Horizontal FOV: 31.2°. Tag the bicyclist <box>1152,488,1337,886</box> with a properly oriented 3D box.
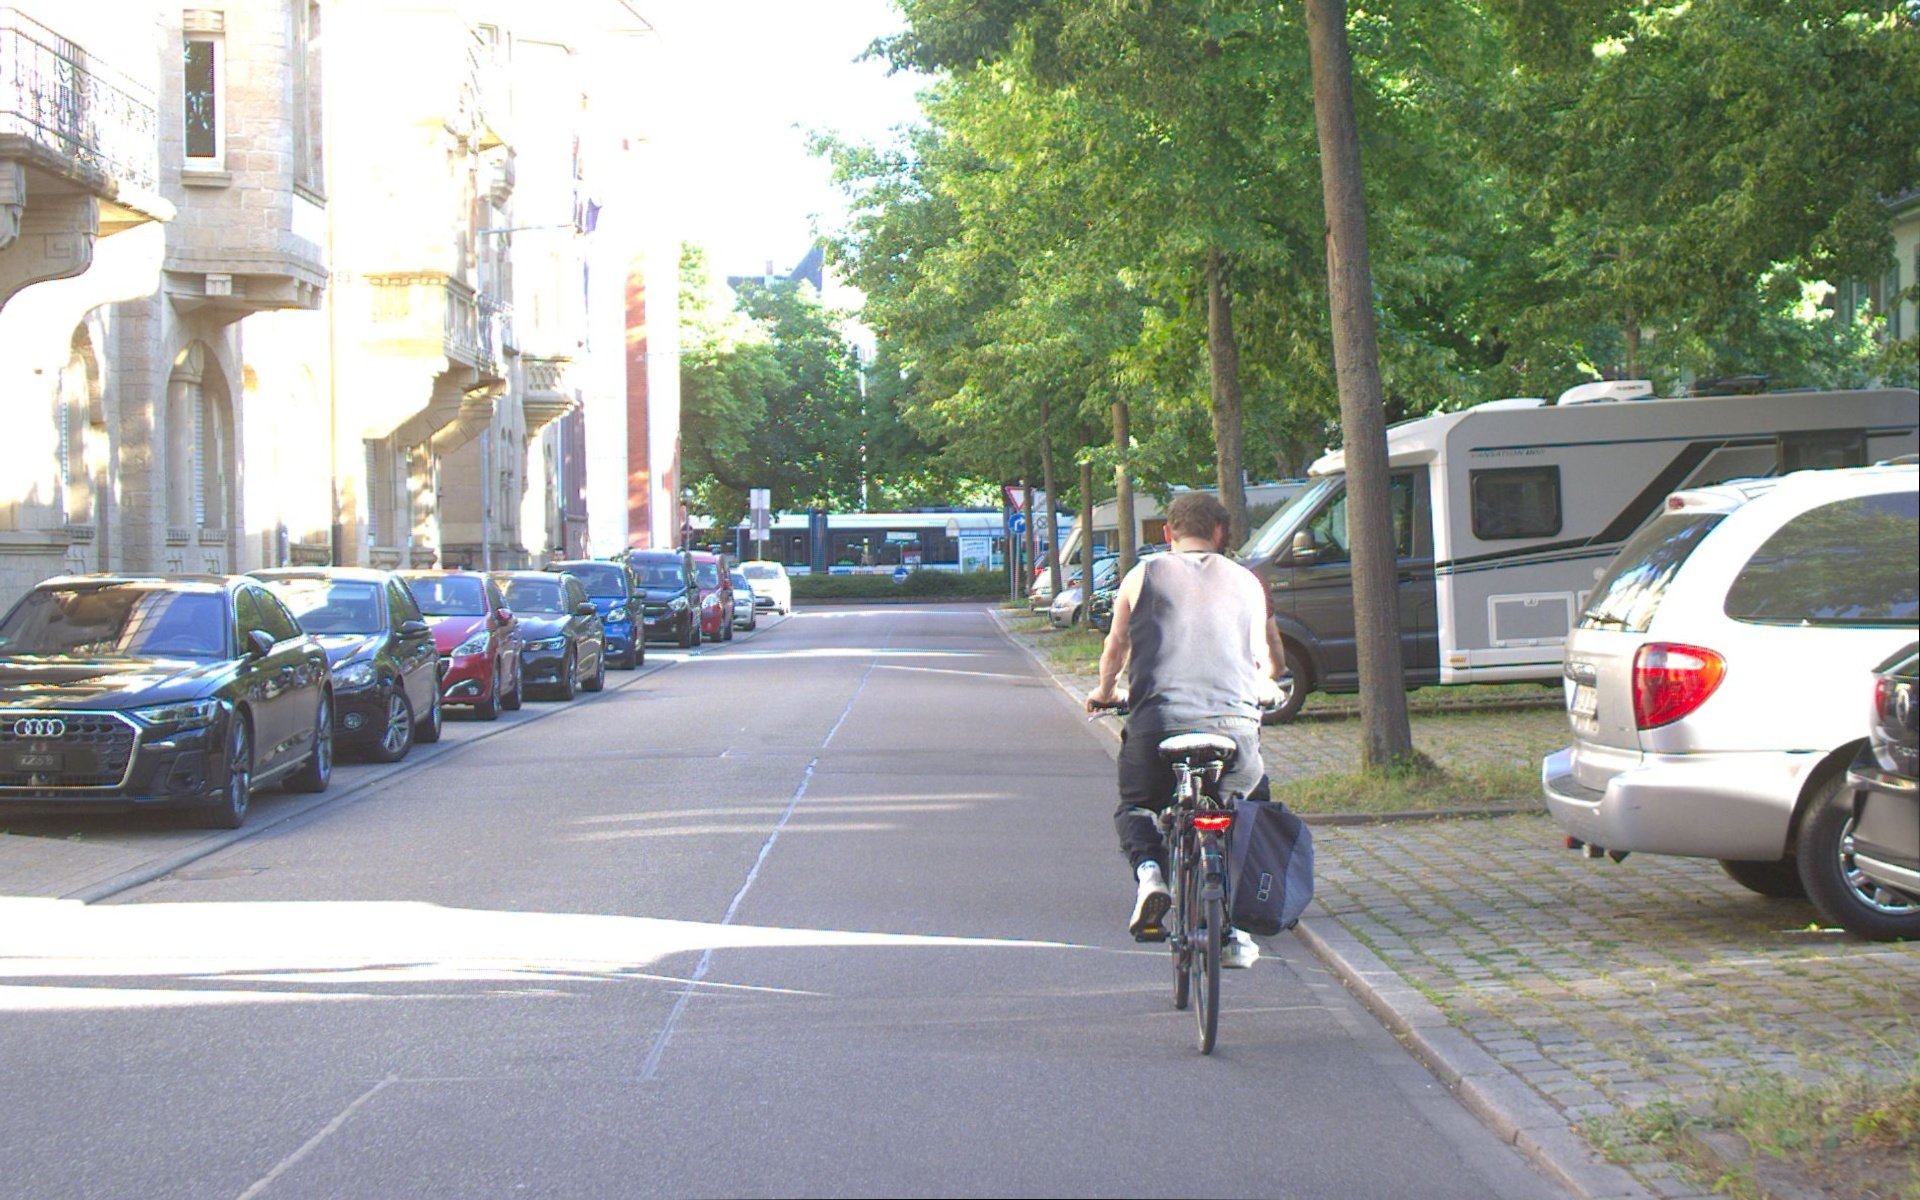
[{"bbox_3d":[1.190,0.351,14.561,0.689,1.621,0.998,1,1,1],"label":"bicyclist"}]

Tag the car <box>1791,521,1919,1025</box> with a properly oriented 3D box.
[{"bbox_3d":[4.855,0.395,10.680,4.068,1.471,1.694,-4,2,1],"label":"car"}]

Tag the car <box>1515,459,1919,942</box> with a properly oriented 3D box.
[{"bbox_3d":[4.637,0.277,13.358,4.619,1.704,1.833,-2,1,1],"label":"car"}]

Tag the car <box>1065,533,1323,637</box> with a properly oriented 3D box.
[{"bbox_3d":[3.813,-0.234,56.575,4.139,1.594,1.702,-1,-1,2],"label":"car"}]

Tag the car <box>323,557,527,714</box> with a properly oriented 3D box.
[{"bbox_3d":[-5.338,0.314,34.683,1.628,1.448,3.838,1,1,-3],"label":"car"}]

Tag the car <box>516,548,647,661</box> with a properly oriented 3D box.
[{"bbox_3d":[-5.445,0.048,49.674,1.595,1.484,2.737,3,1,-2],"label":"car"}]

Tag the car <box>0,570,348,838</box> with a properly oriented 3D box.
[{"bbox_3d":[-5.142,0.557,21.424,1.811,1.422,4.898,2,0,-1],"label":"car"}]

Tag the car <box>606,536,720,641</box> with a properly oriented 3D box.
[{"bbox_3d":[-5.386,-0.243,62.730,1.640,1.777,4.354,2,1,0],"label":"car"}]

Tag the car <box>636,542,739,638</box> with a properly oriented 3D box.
[{"bbox_3d":[-5.489,-0.233,69.739,1.689,1.819,4.273,2,1,0],"label":"car"}]

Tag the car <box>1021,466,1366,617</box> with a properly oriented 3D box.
[{"bbox_3d":[5.040,-1.268,74.933,7.146,2.968,2.465,-2,1,-3],"label":"car"}]

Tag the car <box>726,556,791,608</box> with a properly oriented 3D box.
[{"bbox_3d":[-5.721,-0.538,97.916,1.583,1.371,4.131,2,1,0],"label":"car"}]

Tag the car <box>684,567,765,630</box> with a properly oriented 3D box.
[{"bbox_3d":[-5.511,-0.051,80.783,1.583,1.339,4.131,2,1,0],"label":"car"}]

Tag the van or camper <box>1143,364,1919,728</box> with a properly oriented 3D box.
[{"bbox_3d":[5.284,-0.494,29.979,7.147,2.638,2.464,-4,1,2],"label":"van or camper"}]

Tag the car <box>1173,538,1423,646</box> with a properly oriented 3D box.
[{"bbox_3d":[5.268,-0.118,53.936,3.773,1.594,1.690,-1,-1,2],"label":"car"}]

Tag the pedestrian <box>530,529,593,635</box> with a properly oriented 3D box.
[{"bbox_3d":[-6.588,-0.294,56.868,0.938,1.736,0.735,1,0,0],"label":"pedestrian"}]

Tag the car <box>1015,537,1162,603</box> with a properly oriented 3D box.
[{"bbox_3d":[3.608,-0.845,97.203,3.986,1.797,1.834,1,0,-2],"label":"car"}]

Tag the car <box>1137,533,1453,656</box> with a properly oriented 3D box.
[{"bbox_3d":[4.598,-0.059,47.612,4.223,1.594,1.690,-1,-1,2],"label":"car"}]

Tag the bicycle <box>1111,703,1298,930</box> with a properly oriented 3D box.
[{"bbox_3d":[1.006,0.883,14.505,0.633,0.796,1.832,-1,1,0],"label":"bicycle"}]

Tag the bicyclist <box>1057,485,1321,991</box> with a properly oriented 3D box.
[{"bbox_3d":[0.719,0.426,11.036,0.730,1.542,0.884,1,0,-1],"label":"bicyclist"}]

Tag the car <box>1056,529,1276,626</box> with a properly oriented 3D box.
[{"bbox_3d":[4.028,-0.446,67.476,4.082,1.644,1.641,-4,0,-2],"label":"car"}]

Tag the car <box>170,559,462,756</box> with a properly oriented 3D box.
[{"bbox_3d":[-5.073,0.424,27.538,1.696,1.448,4.028,0,0,-2],"label":"car"}]

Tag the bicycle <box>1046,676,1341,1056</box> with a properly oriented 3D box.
[{"bbox_3d":[0.708,0.799,11.015,0.737,1.050,1.956,1,0,-1],"label":"bicycle"}]

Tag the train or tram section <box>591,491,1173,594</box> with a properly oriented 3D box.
[{"bbox_3d":[-2.971,-2.268,140.701,23.799,3.696,4.287,1,0,-22],"label":"train or tram section"}]

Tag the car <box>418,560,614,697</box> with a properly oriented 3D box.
[{"bbox_3d":[-5.162,0.288,40.472,1.675,1.425,4.550,2,1,0],"label":"car"}]
